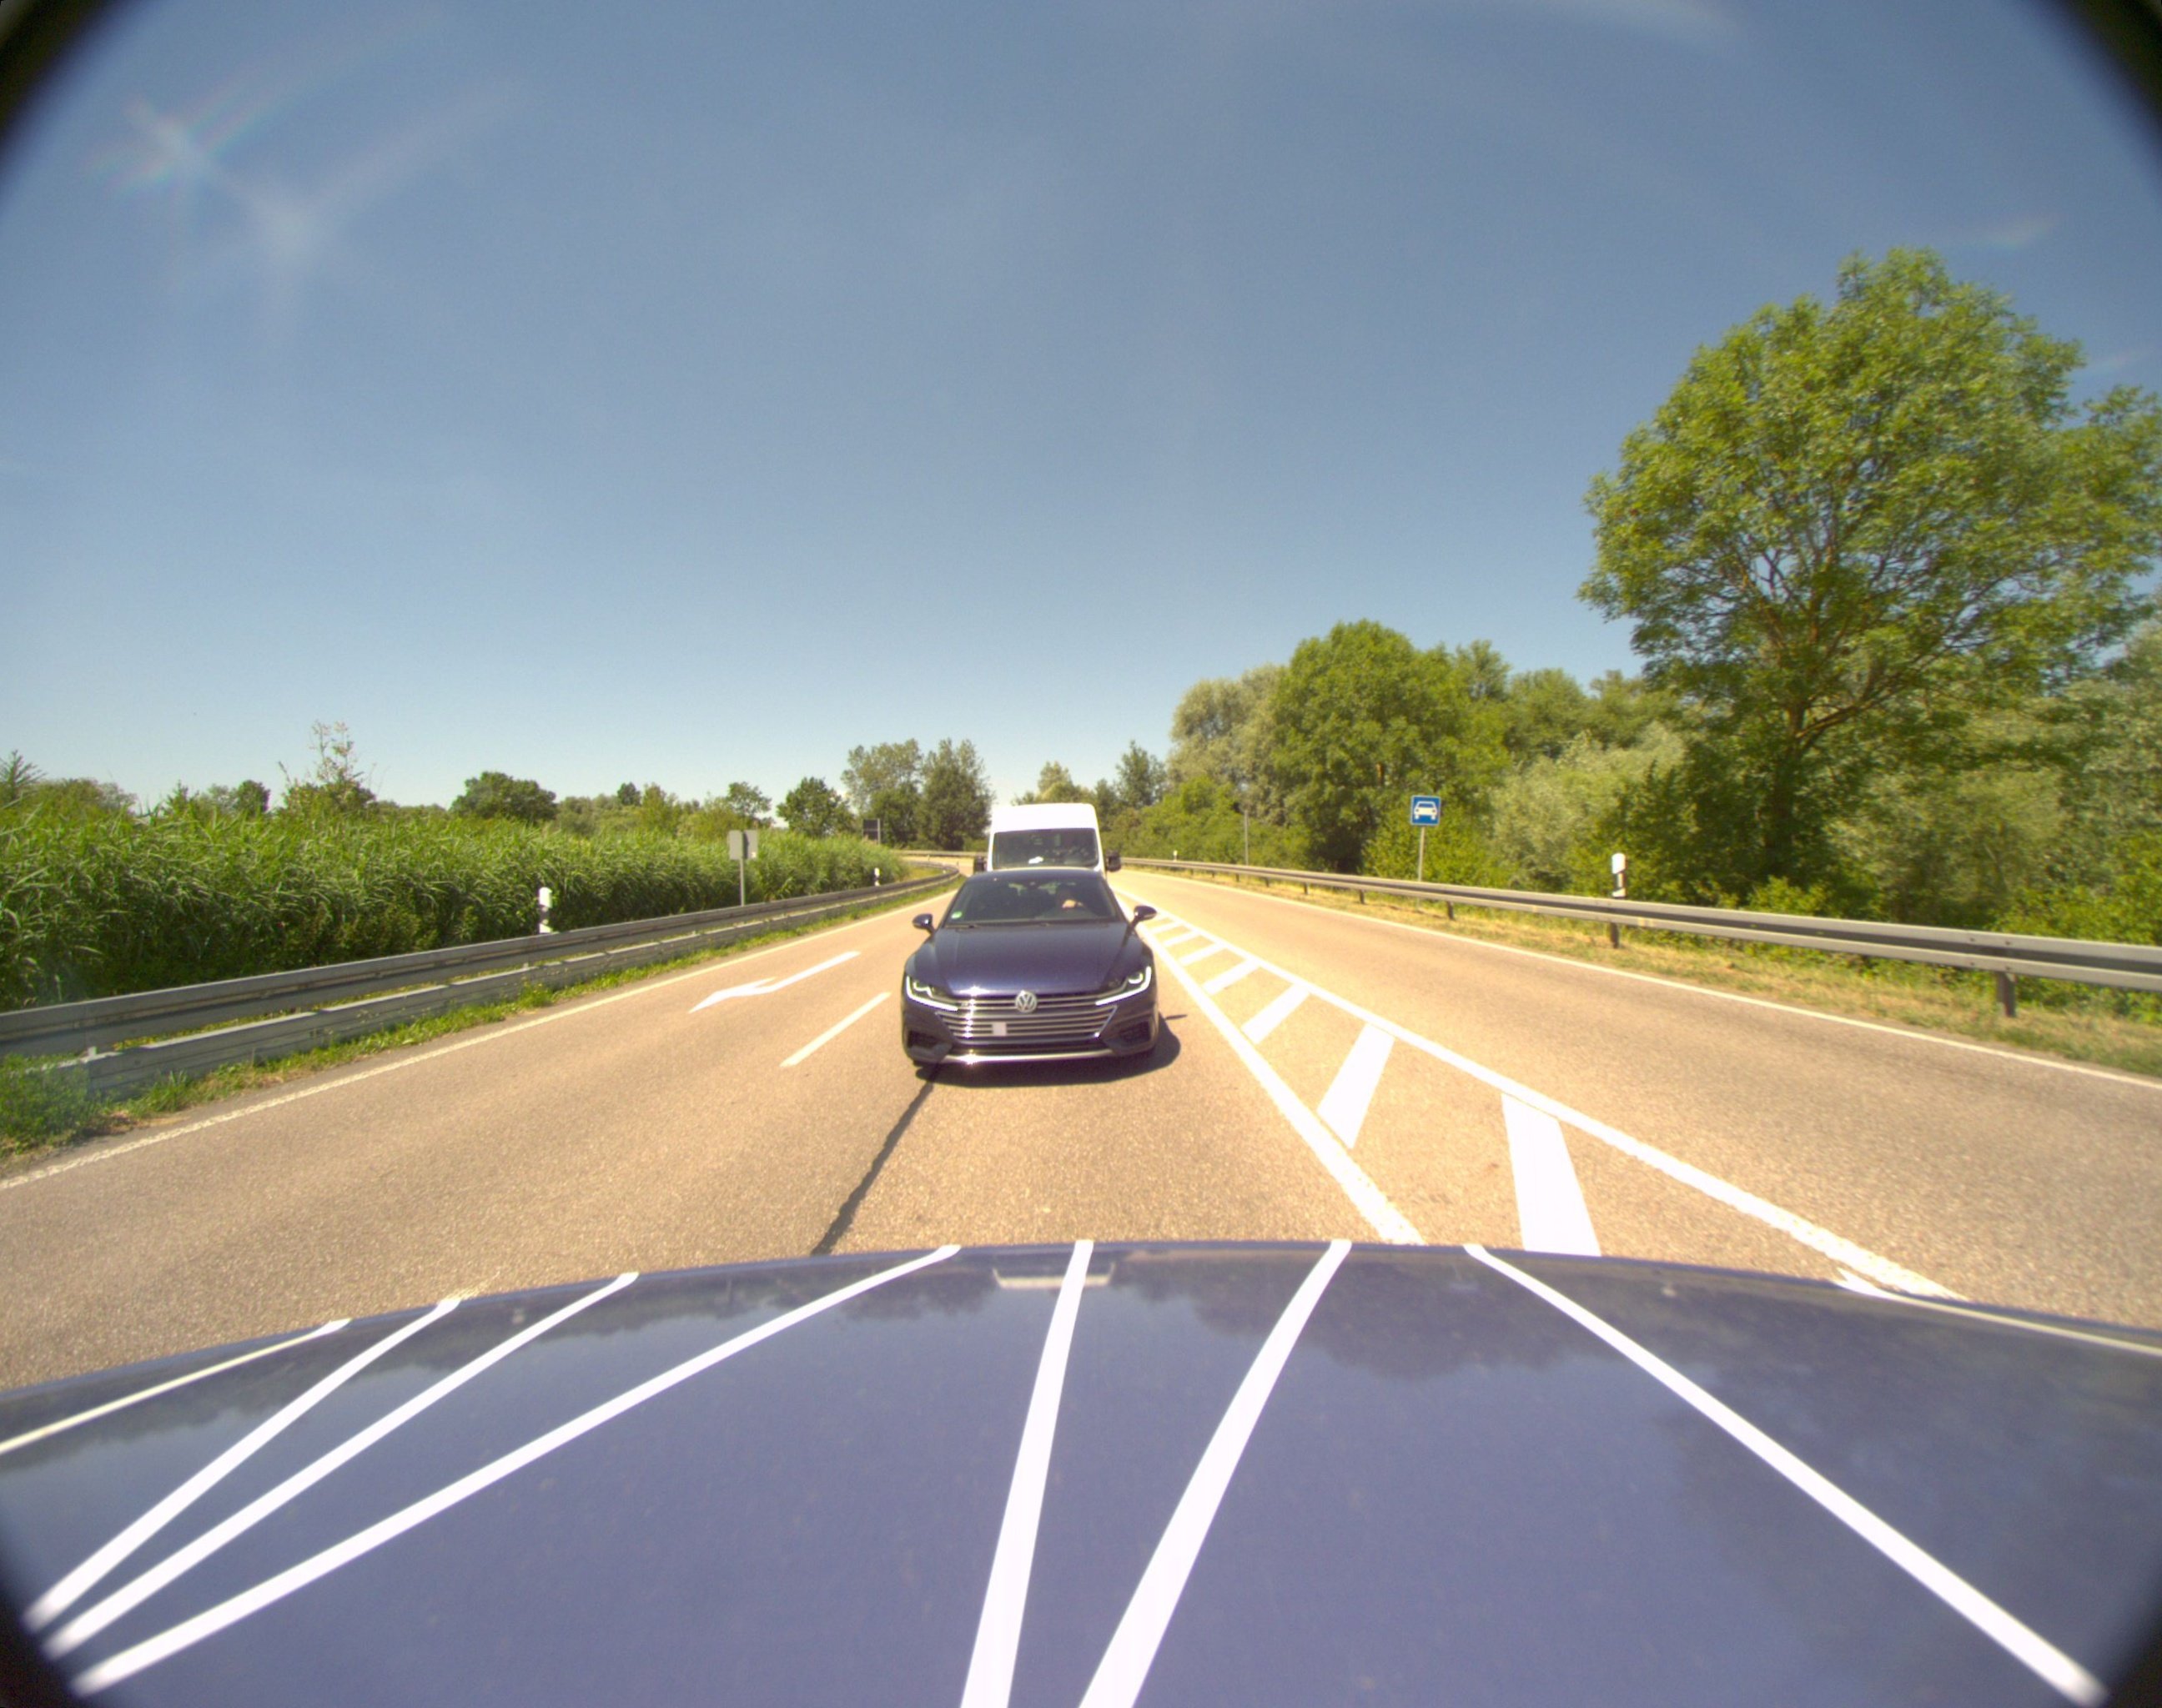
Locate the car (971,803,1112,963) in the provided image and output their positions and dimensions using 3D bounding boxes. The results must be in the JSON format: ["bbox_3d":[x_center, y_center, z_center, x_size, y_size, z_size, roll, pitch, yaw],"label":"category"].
[{"bbox_3d":[-0.586,0.422,14.530,2.059,2.376,5.826,-2,1,0],"label":"car"}]

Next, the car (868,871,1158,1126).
[{"bbox_3d":[-0.412,0.952,6.745,1.761,1.401,3.999,-2,1,0],"label":"car"}]
